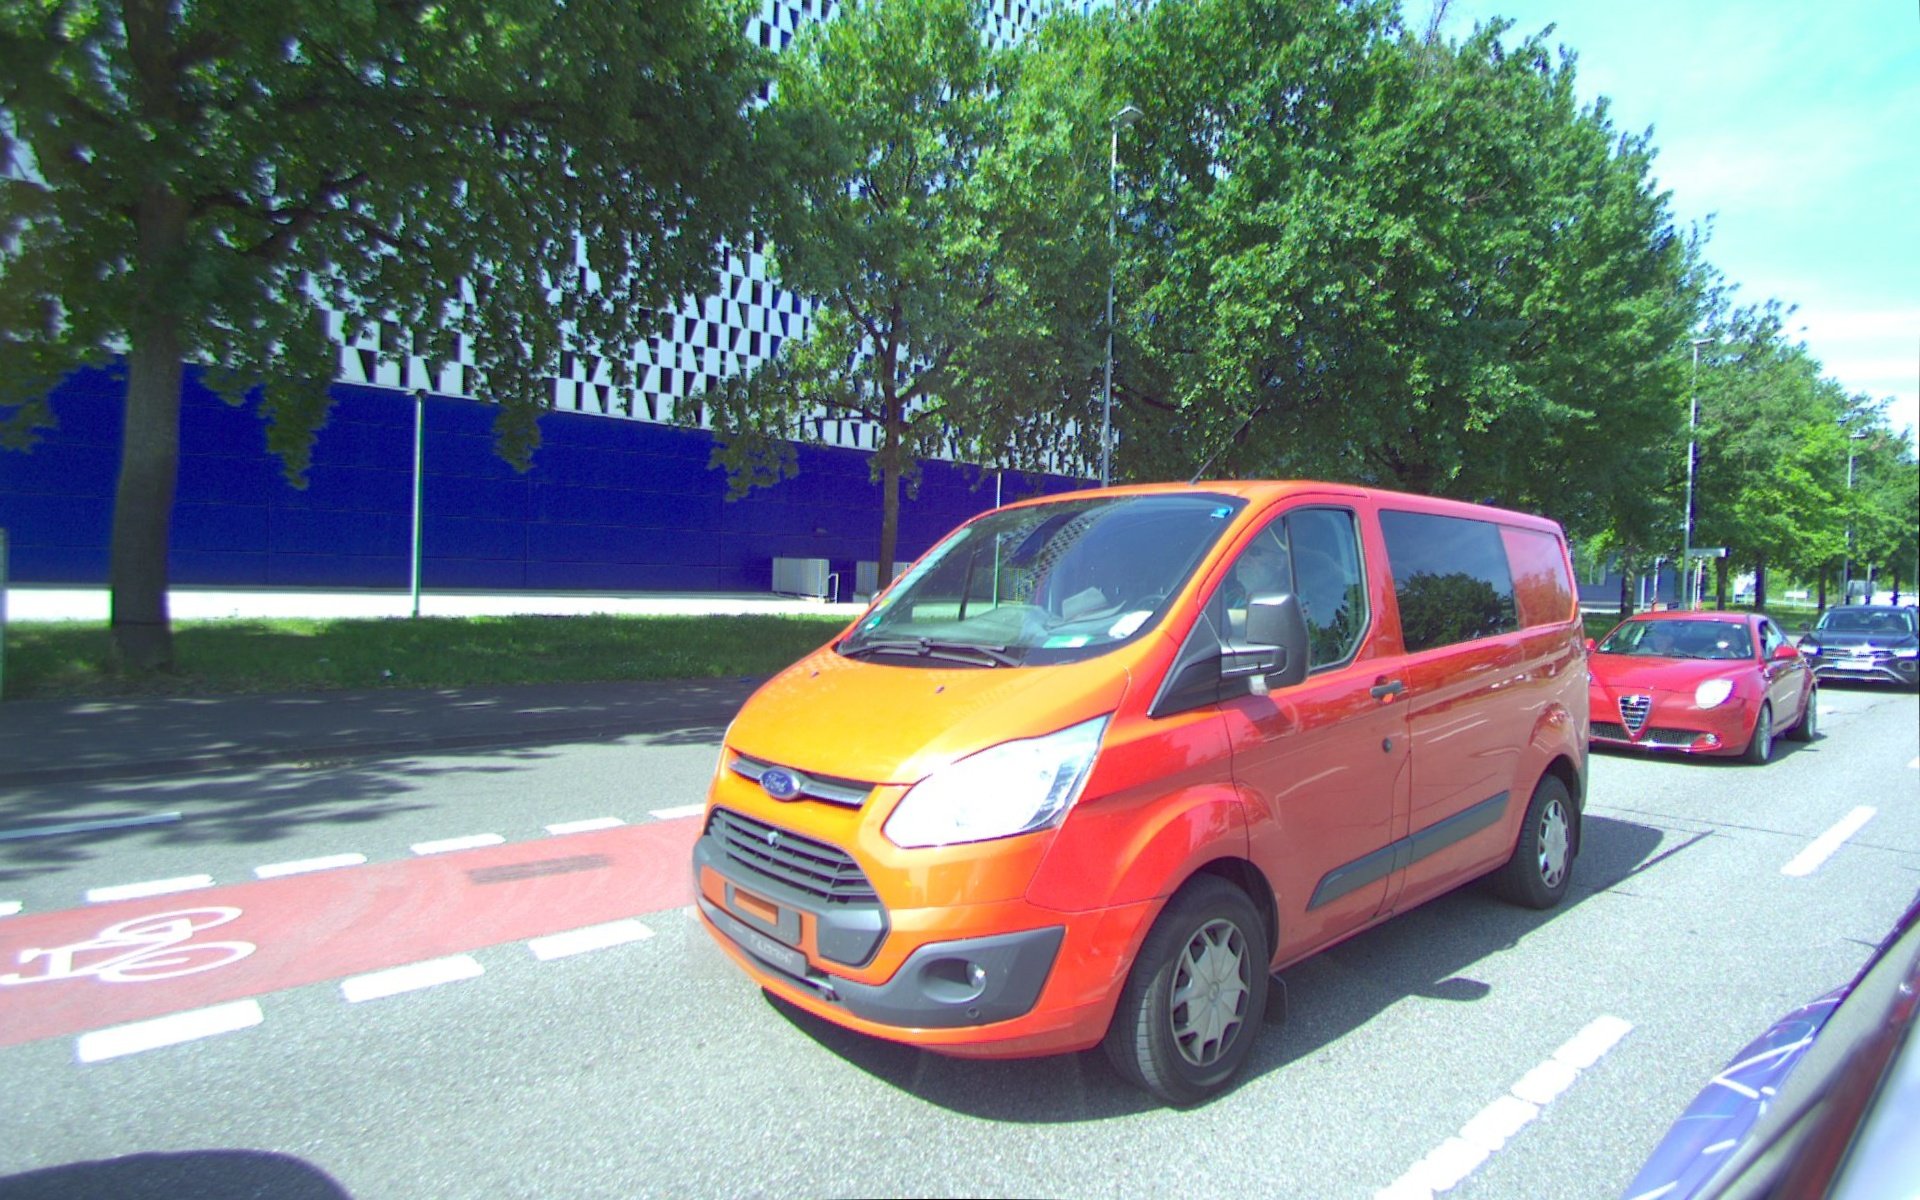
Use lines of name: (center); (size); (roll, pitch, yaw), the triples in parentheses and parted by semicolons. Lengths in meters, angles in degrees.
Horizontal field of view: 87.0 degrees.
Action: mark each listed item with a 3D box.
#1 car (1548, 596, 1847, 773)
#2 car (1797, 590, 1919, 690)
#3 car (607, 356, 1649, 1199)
car: (7.926, 0.723, 10.749); (3.911, 1.472, 1.796); (-1, 2, -42)
car: (17.328, 0.684, 18.964); (4.039, 1.662, 1.823); (0, 1, -40)
car: (1.242, 0.444, 4.648); (5.036, 1.992, 1.971); (0, 1, -41)
